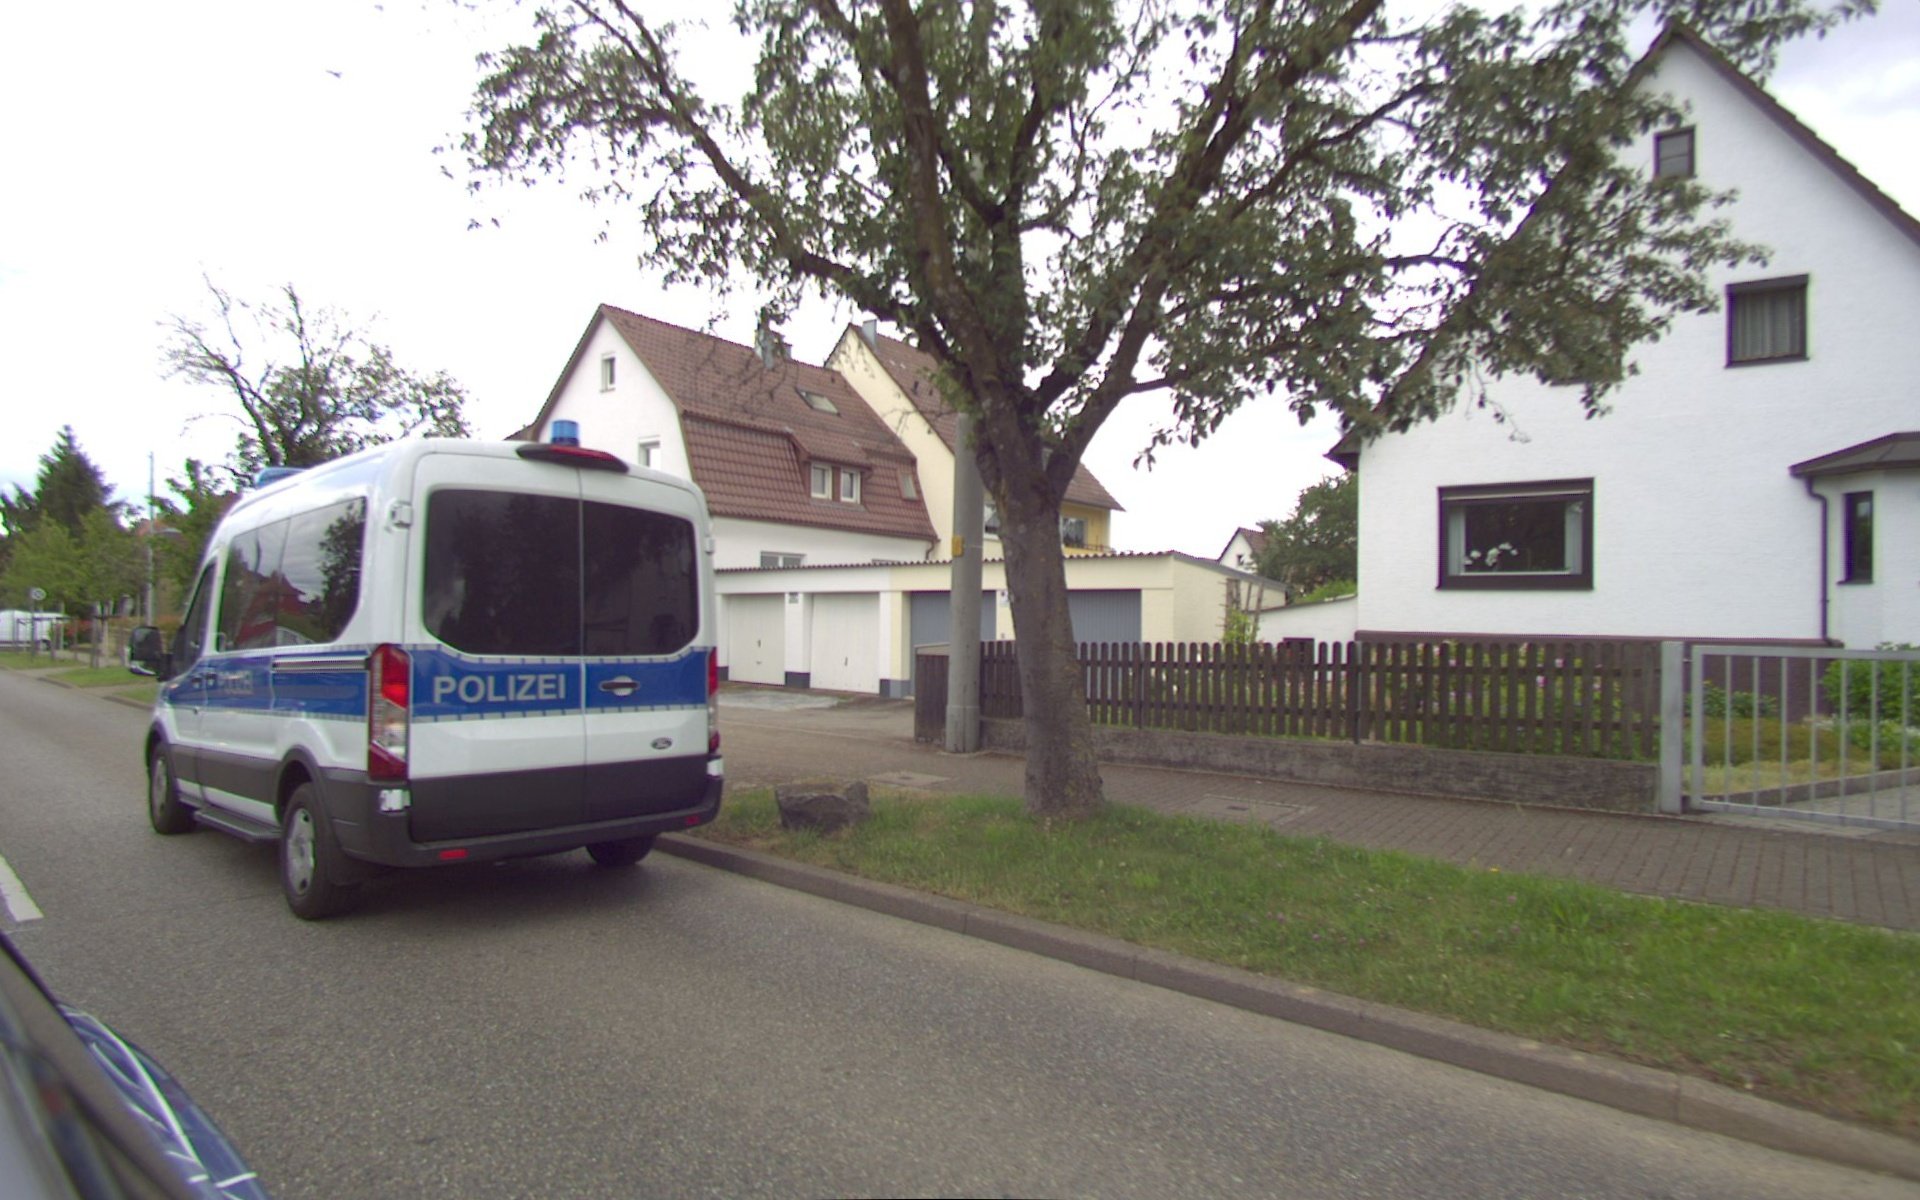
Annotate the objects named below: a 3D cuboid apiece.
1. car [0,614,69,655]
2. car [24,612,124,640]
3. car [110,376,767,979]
[{"bbox_3d":[-61.673,2.186,65.584,5.527,2.583,2.137,3,-3,-31],"label":"car"},{"bbox_3d":[-56.089,1.638,64.118,1.999,1.633,4.583,-3,-2,42],"label":"car"},{"bbox_3d":[-3.834,0.420,6.892,5.296,2.602,2.052,-2,-4,41],"label":"car"}]
